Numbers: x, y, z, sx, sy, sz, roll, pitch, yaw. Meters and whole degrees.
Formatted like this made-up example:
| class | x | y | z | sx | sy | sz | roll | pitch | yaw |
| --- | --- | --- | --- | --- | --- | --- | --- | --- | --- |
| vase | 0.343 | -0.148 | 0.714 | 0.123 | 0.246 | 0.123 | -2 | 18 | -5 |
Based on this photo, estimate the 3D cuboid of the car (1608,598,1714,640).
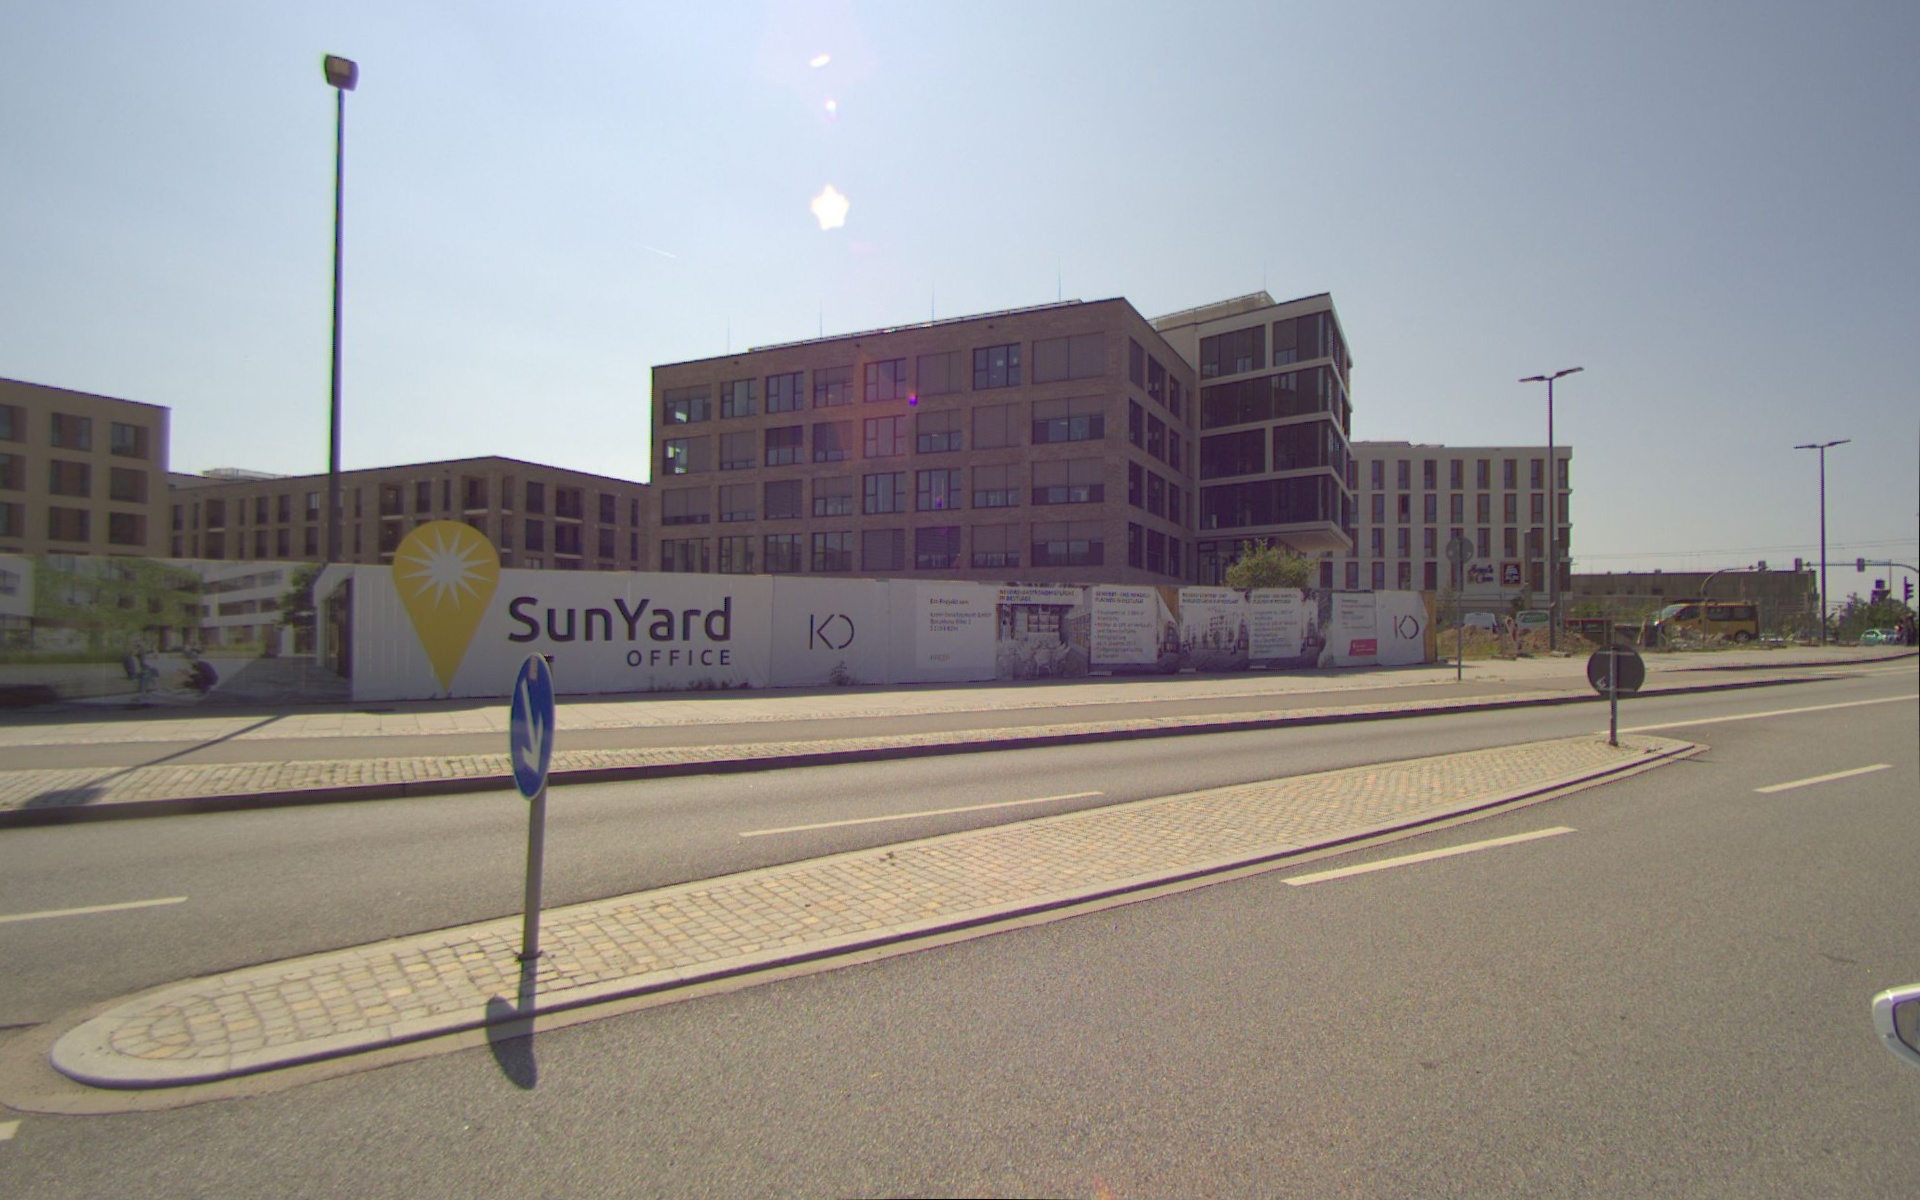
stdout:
| class | x | y | z | sx | sy | sz | roll | pitch | yaw |
| --- | --- | --- | --- | --- | --- | --- | --- | --- | --- |
| car | 35.562 | 0.964 | 51.047 | 3.919 | 2.040 | 2.001 | 0 | -1 | 8 |

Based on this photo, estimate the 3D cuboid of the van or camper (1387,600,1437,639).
| class | x | y | z | sx | sy | sz | roll | pitch | yaw |
| --- | --- | --- | --- | --- | --- | --- | --- | --- | --- |
| van or camper | 26.404 | 1.132 | 58.576 | 2.206 | 2.040 | 4.592 | 4 | 1 | 29 |

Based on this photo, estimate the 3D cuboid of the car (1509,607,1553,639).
| class | x | y | z | sx | sy | sz | roll | pitch | yaw |
| --- | --- | --- | --- | --- | --- | --- | --- | --- | --- |
| car | 31.650 | 1.248 | 55.736 | 1.996 | 1.694 | 4.592 | 0 | -1 | 29 |

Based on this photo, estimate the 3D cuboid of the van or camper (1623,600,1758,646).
| class | x | y | z | sx | sy | sz | roll | pitch | yaw |
| --- | --- | --- | --- | --- | --- | --- | --- | --- | --- |
| van or camper | 34.150 | 1.078 | 47.085 | 4.622 | 1.922 | 2.001 | 2 | -1 | 12 |

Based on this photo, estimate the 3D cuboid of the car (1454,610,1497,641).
| class | x | y | z | sx | sy | sz | roll | pitch | yaw |
| --- | --- | --- | --- | --- | --- | --- | --- | --- | --- |
| car | 29.597 | 1.422 | 57.600 | 1.996 | 1.694 | 4.592 | 0 | -1 | 29 |

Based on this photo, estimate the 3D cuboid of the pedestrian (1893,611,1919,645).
| class | x | y | z | sx | sy | sz | roll | pitch | yaw |
| --- | --- | --- | --- | --- | --- | --- | --- | --- | --- |
| pedestrian | 46.598 | 1.369 | 49.467 | 0.819 | 1.668 | 0.839 | 1 | -1 | -35 |
